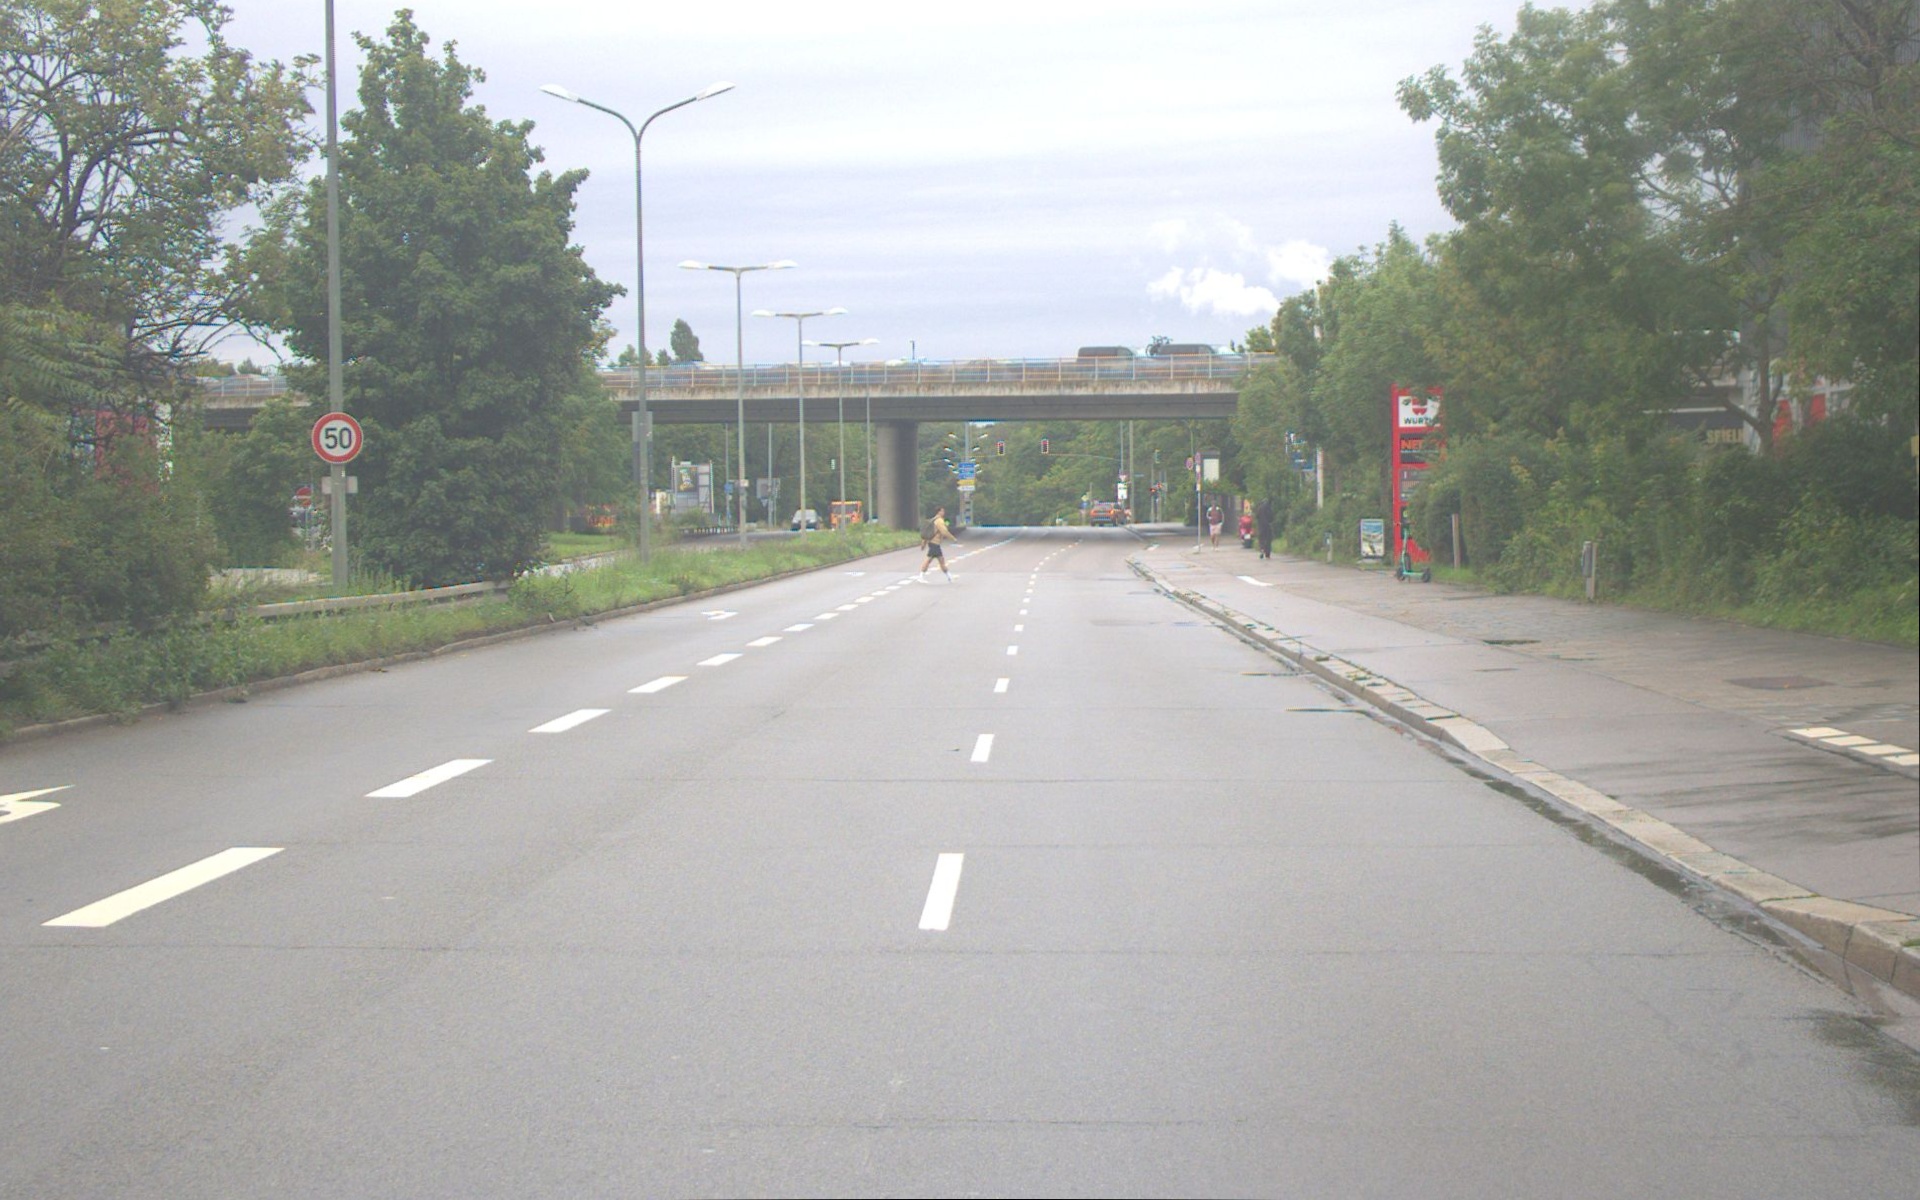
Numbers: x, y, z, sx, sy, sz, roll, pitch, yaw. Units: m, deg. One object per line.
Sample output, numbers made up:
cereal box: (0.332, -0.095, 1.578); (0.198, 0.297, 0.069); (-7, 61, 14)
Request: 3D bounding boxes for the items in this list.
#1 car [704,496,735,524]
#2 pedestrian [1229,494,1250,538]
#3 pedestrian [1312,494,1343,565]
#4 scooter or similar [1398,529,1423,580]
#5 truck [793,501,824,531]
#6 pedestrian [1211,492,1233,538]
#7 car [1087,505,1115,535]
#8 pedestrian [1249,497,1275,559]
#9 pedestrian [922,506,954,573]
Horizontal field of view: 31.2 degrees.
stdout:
car: (-17.750, -6.631, 254.083); (1.993, 2.006, 4.001); (-2, 2, -1)
pedestrian: (10.340, -3.118, 127.117); (0.689, 1.611, 0.662); (-2, 1, 1)
pedestrian: (9.836, -1.881, 92.034); (0.689, 1.869, 0.662); (-2, 1, 1)
scooter or similar: (9.012, -0.911, 68.793); (0.304, 1.000, 1.220); (-2, 1, -1)
truck: (-10.377, -5.771, 235.625); (1.993, 2.006, 4.357); (-2, 2, -1)
pedestrian: (9.436, -3.062, 123.982); (0.689, 1.611, 0.662); (-2, 1, 1)
car: (9.433, -5.356, 229.467); (1.812, 2.006, 3.833); (0, 2, 3)
pedestrian: (9.188, -2.203, 104.647); (0.689, 1.869, 0.662); (-2, 1, 1)
pedestrian: (-0.532, -1.483, 84.182); (0.660, 1.611, 0.691); (-2, 1, 7)
